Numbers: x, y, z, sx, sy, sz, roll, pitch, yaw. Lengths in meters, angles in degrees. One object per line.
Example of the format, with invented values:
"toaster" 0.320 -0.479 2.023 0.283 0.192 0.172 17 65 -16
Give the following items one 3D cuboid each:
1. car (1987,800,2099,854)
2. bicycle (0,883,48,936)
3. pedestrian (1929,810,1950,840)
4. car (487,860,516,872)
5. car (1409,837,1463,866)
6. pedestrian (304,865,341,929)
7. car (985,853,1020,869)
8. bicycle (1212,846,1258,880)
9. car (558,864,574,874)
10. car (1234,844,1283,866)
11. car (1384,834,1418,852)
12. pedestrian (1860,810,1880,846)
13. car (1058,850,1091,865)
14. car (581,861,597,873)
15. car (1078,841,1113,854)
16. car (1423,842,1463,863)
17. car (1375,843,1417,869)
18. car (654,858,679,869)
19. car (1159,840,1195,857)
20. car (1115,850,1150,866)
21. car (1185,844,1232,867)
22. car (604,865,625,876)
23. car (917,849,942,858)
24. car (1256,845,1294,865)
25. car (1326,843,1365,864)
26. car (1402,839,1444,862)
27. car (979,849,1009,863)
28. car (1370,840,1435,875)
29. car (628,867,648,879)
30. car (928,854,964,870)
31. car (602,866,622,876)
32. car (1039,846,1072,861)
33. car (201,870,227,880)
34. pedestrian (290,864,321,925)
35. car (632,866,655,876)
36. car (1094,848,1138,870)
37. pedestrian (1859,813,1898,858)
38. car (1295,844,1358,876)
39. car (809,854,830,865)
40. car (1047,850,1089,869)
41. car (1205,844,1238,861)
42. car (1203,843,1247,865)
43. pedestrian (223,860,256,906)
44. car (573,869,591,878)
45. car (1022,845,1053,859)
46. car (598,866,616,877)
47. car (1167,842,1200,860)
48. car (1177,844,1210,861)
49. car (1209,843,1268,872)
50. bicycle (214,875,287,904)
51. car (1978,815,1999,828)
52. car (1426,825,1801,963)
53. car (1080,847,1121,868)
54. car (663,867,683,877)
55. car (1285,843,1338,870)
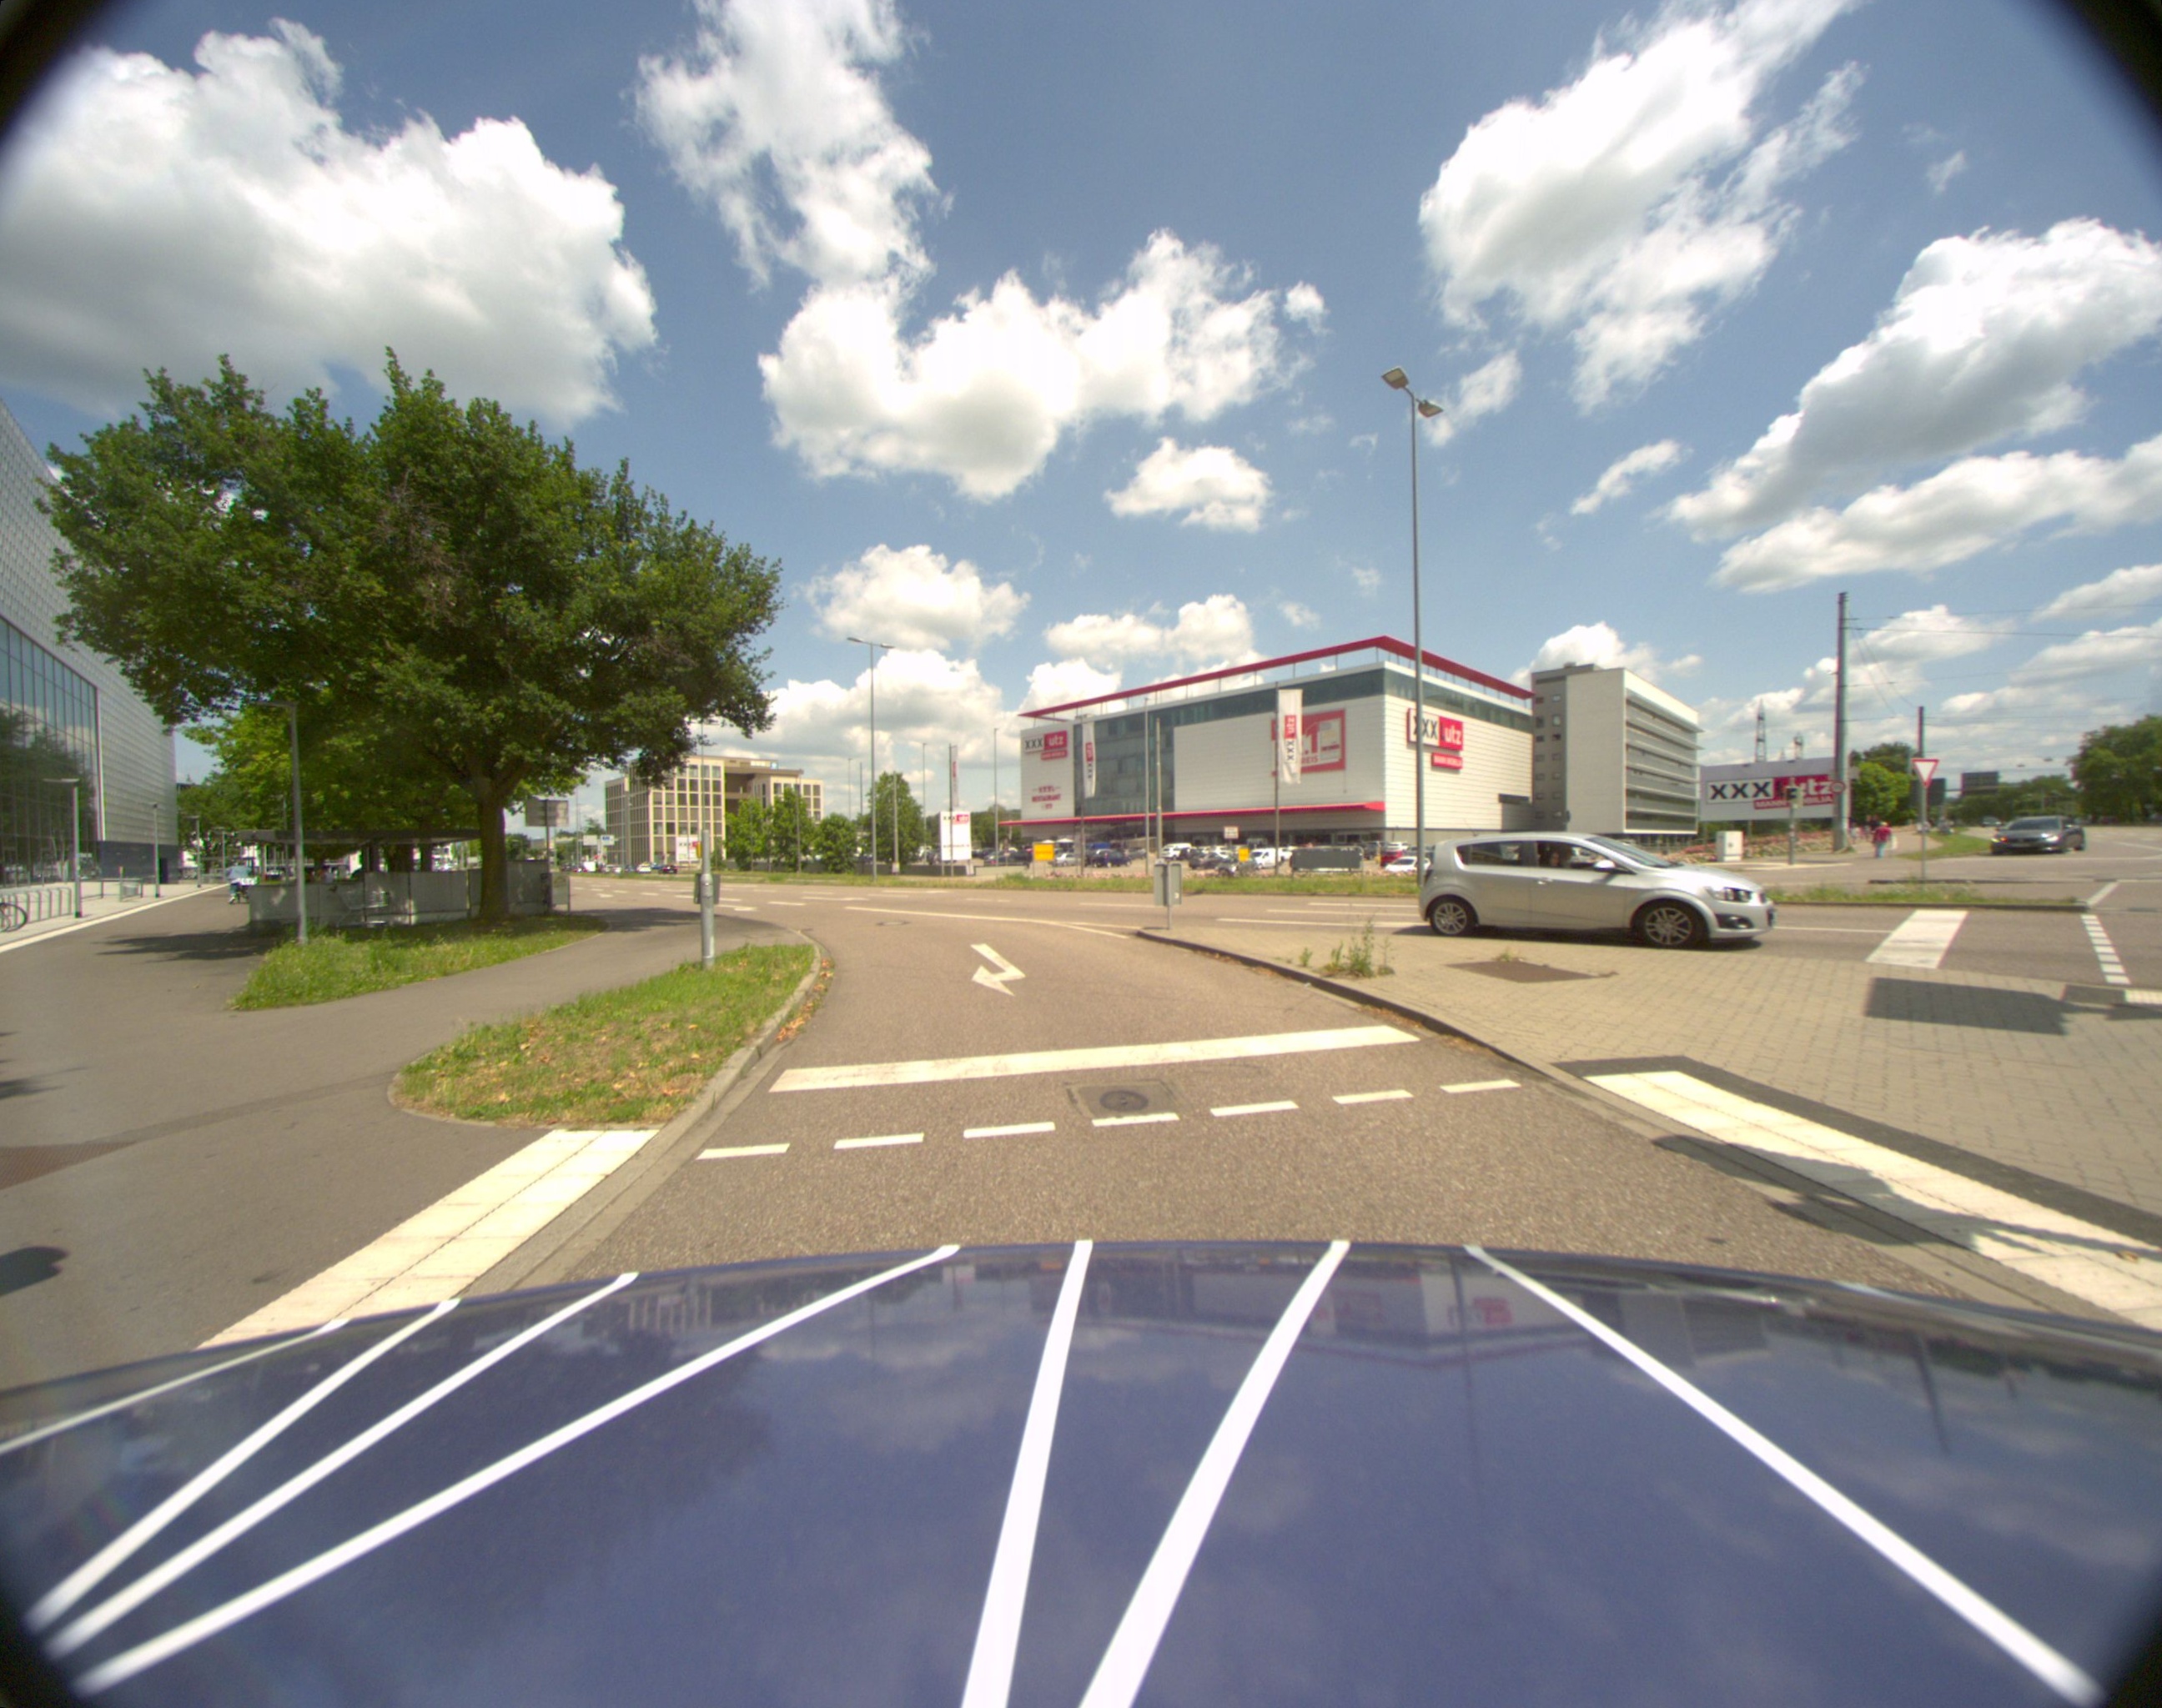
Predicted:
"car" 38.544 -1.059 30.430 4.005 2.002 1.996 -1 0 -27
"bicycle" -26.246 1.322 17.896 2.151 1.222 0.719 0 0 -33
"pedestrian" 58.429 -1.999 51.723 0.568 2.002 0.773 -1 0 -22
"car" -100.631 2.136 131.959 4.008 2.002 1.995 -1 0 -39
"car" 25.281 -0.183 54.114 4.372 1.977 1.994 -1 1 -43
"pedestrian" -20.178 1.136 20.229 0.547 1.653 0.545 -2 1 -32
"car" -10.472 0.911 101.741 4.309 2.030 1.986 -1 1 -43
"bicycle" 7.840 0.456 38.724 1.023 1.665 2.043 -1 0 -42
"car" -85.897 2.562 126.696 1.801 1.635 4.159 -1 -1 -39
"car" 15.240 0.085 65.244 4.372 1.829 1.994 -1 1 -43
"car" 36.655 -1.268 87.082 4.094 1.977 1.994 -1 1 -41
"pedestrian" 40.829 -1.331 39.314 0.535 1.800 0.595 -1 0 -32
"car" -0.856 0.435 104.720 4.372 1.977 1.994 -1 1 -43
"car" -83.309 2.211 128.627 1.867 2.031 3.567 -1 -1 -39
"car" 2.130 -0.941 110.524 5.144 1.768 2.193 -1 0 -44
"car" 35.416 -0.124 74.298 4.372 1.977 1.994 -1 1 -43
"car" 25.713 0.141 61.904 1.994 1.977 5.320 -1 0 35
"car" -81.531 1.899 149.595 4.008 2.002 1.995 -1 0 -39
"car" 11.610 -0.706 91.923 4.372 1.977 1.994 -1 1 -43
"car" 6.633 0.450 97.532 4.372 1.977 1.994 -1 0 -42
"car" 11.552 0.151 68.728 4.372 1.977 1.994 -1 1 -43
"car" -66.145 2.299 107.662 1.801 1.409 4.661 1 -1 -41
"car" -26.711 -0.075 134.087 3.841 1.461 1.851 -1 0 -40
"car" 20.573 0.104 80.406 4.094 1.977 1.994 -1 1 -43
"car" 26.211 -0.024 75.292 4.094 1.977 1.994 -1 1 -43
"car" 31.619 -0.332 70.254 4.636 1.977 1.994 -1 1 -44
"car" -13.598 0.309 118.645 4.372 1.977 1.994 -1 1 -43
"car" 19.349 0.170 45.662 4.008 2.002 1.994 -1 1 -41
"car" -59.544 2.551 102.061 1.748 1.466 3.665 -1 1 -40
"car" -18.039 1.052 101.604 4.372 1.977 1.995 -1 -1 -43
"car" -69.811 2.596 113.116 1.801 1.394 4.832 -2 0 -41
"car" -3.616 -0.065 108.212 4.372 1.977 1.994 -1 1 -43
"car" -143.379 3.395 125.679 1.800 1.543 3.990 -1 0 -32
"pedestrian" -21.319 1.100 20.883 0.547 1.652 0.477 -2 1 -44
"car" -68.922 2.643 119.697 4.346 1.464 1.628 -2 -1 37
"car" 3.587 0.497 77.976 4.371 1.978 1.994 -3 2 -43
"pedestrian" 33.291 -0.797 31.733 0.865 1.827 0.799 -2 3 19
"car" 15.827 0.345 48.944 4.372 1.977 1.994 -1 1 -43
"car" -47.979 1.001 139.394 1.860 1.822 4.661 -1 0 -43
"car" -1.441 0.559 83.041 4.372 1.977 1.994 -1 1 -43
"car" 17.294 -0.146 93.352 4.008 2.002 1.994 -2 0 -43
"car" 14.071 -0.028 74.151 4.372 1.978 1.994 -1 2 -43
"pedestrian" -32.195 1.108 29.068 0.524 1.712 0.635 0 1 -1
"car" -77.469 3.036 117.855 1.801 1.243 4.295 -1 -1 -41
"car" -6.409 -0.259 112.743 4.372 1.977 1.994 -1 1 -43
"car" -73.917 2.750 118.487 1.801 1.691 4.215 -1 -1 -41
"car" 13.561 -0.395 100.518 4.580 2.293 1.864 -1 1 -43
"car" 13.303 -0.193 89.874 4.008 2.002 1.772 -2 0 -43
"car" 11.367 0.257 54.814 4.372 1.977 1.994 -1 1 -43
"bicycle" -31.761 1.351 29.076 2.014 1.101 0.577 0 0 -5
"car" 154.158 -5.540 129.076 4.007 2.002 1.995 -1 0 -36
"car" 7.072 0.484 10.341 1.904 1.461 3.823 -4 1 -44
"car" 2.084 0.360 79.874 4.092 1.978 1.837 -3 2 -44
"car" -58.294 2.557 108.546 1.628 1.461 4.105 -1 0 -40
"car" 18.633 0.142 61.338 4.606 1.978 1.994 -3 2 -43
